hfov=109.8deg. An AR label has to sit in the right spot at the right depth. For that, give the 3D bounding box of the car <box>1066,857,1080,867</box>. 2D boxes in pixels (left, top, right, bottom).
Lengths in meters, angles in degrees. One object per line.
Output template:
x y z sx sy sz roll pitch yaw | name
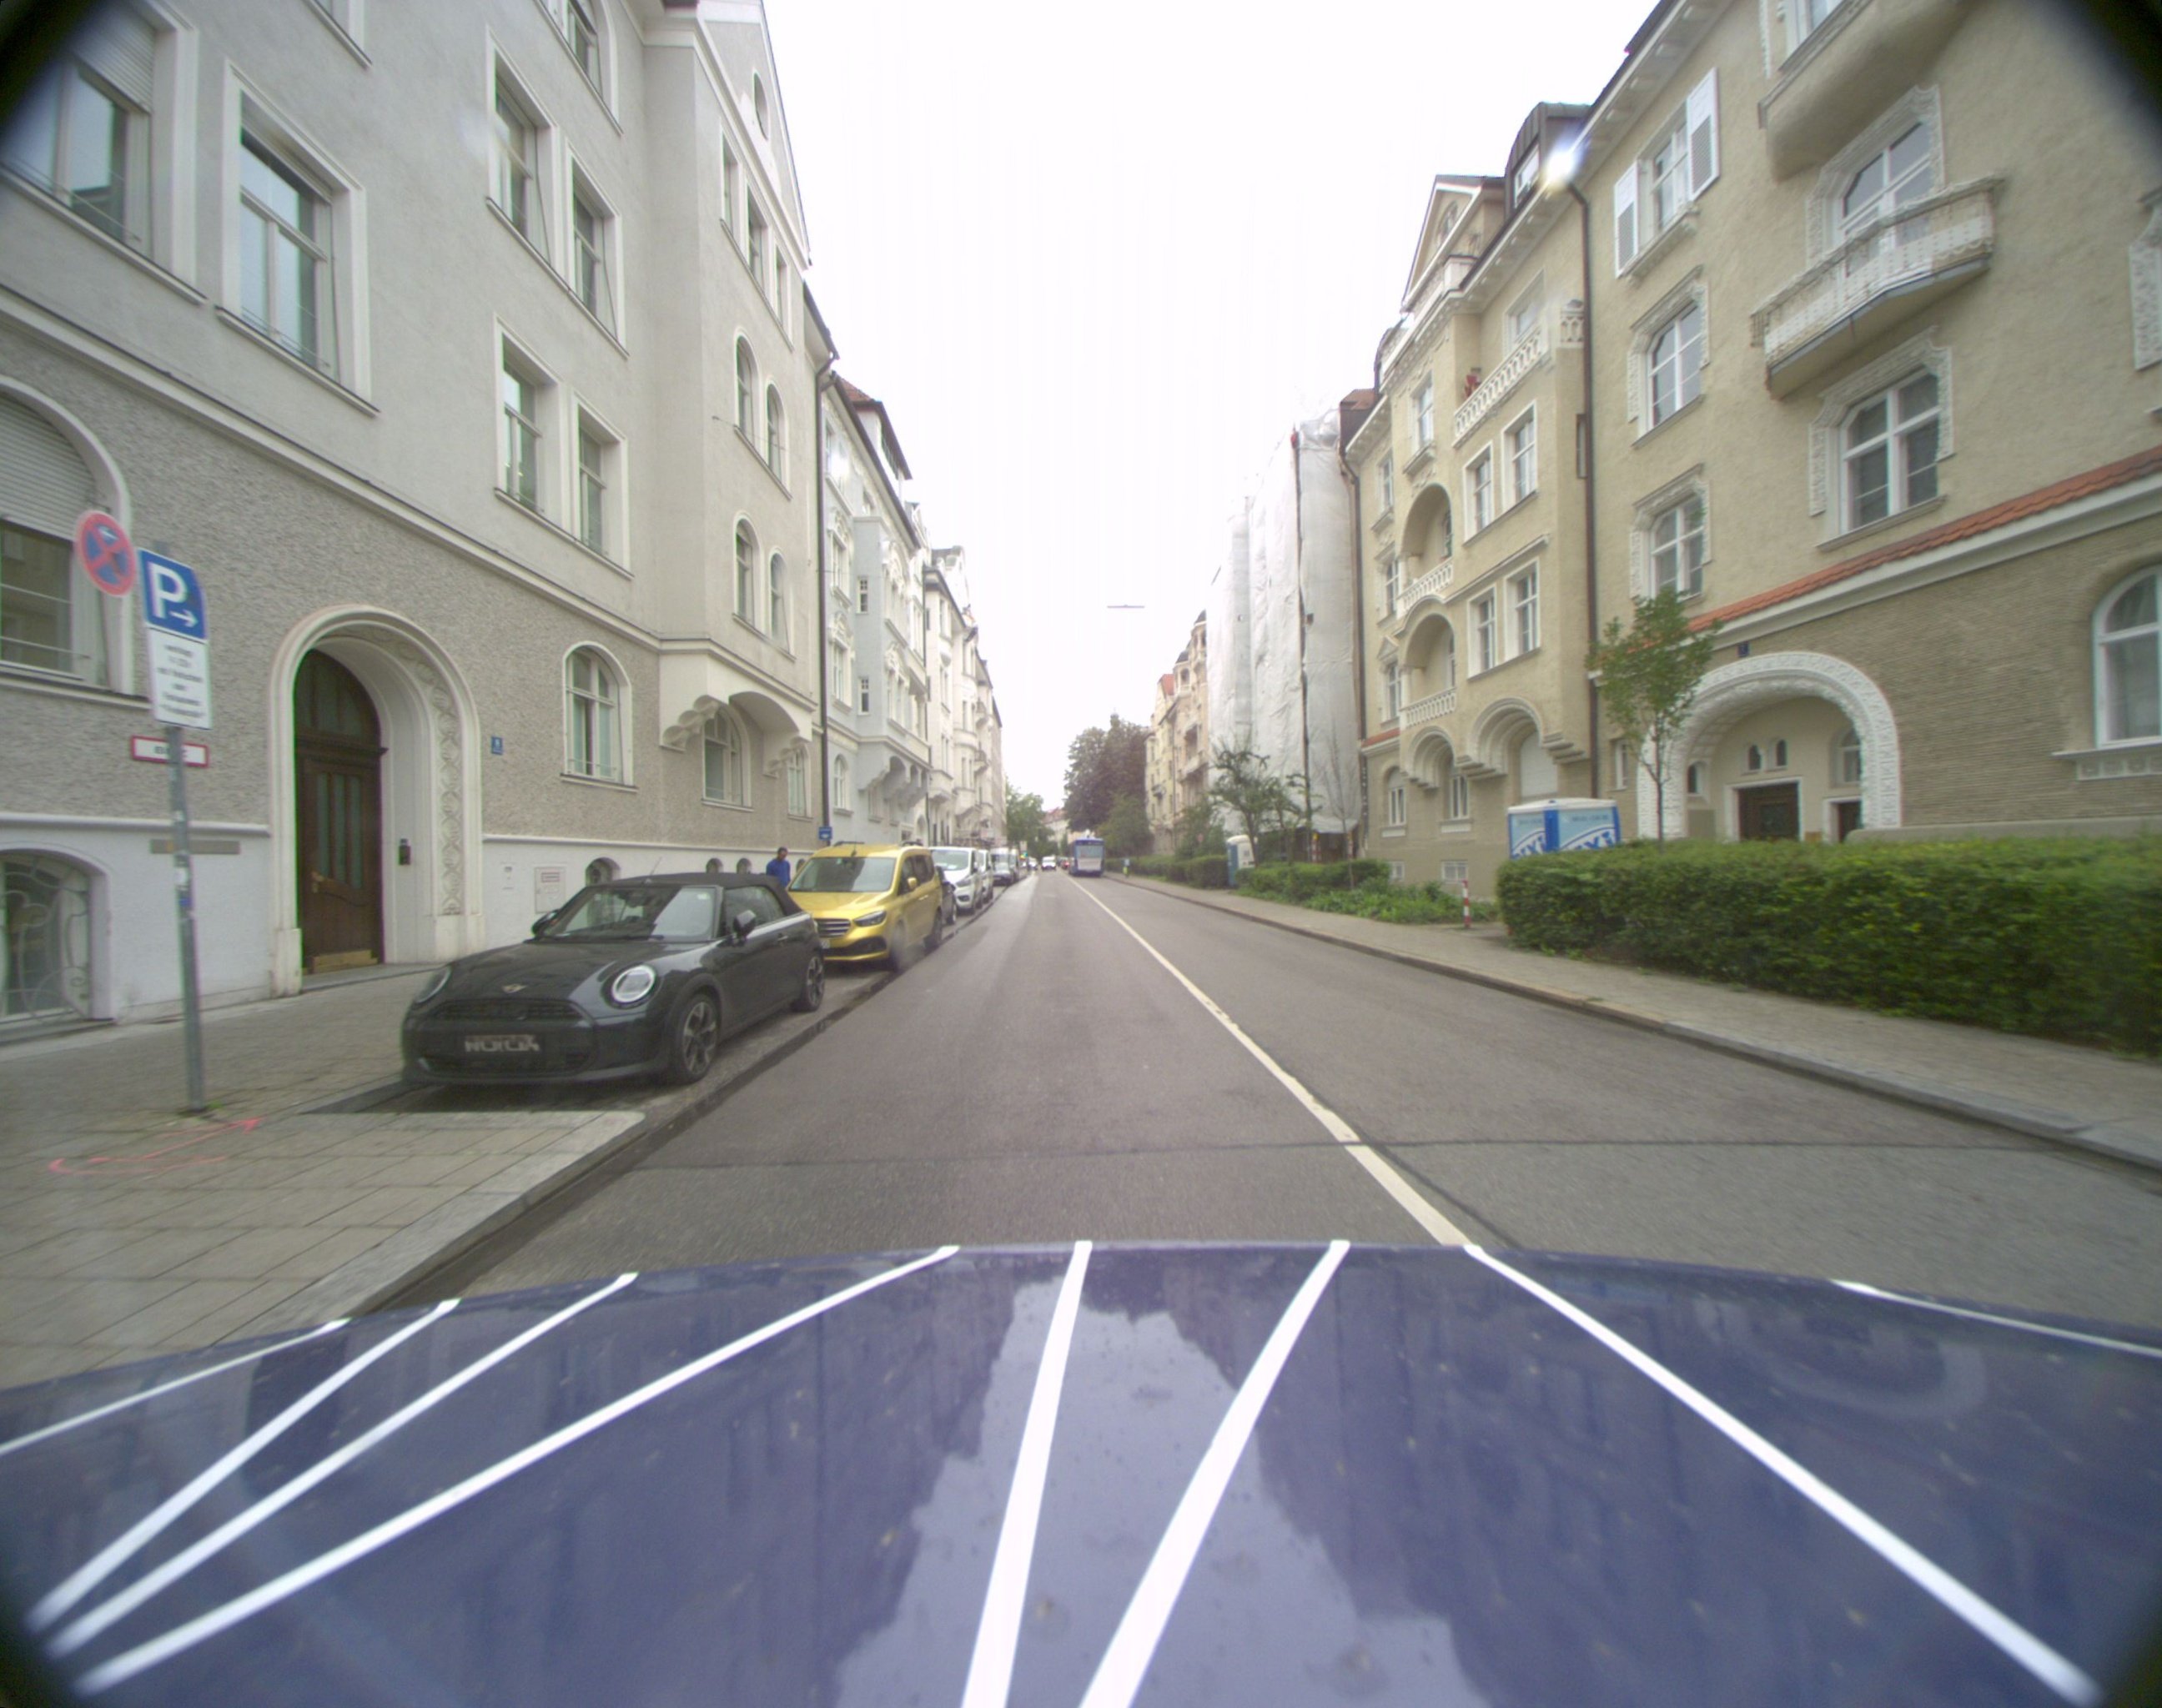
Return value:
-1.061 1.105 104.606 1.724 1.398 4.000 -1 0 2 | car

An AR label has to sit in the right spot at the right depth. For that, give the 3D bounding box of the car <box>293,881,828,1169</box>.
-3.510 1.017 6.124 1.717 1.436 3.827 -1 0 -1 | car

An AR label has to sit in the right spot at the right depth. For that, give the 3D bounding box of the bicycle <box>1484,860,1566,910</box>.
11.509 0.777 19.774 0.823 1.199 2.077 -2 0 -2 | bicycle

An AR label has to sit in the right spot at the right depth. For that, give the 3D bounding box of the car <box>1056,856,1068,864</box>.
-3.247 1.073 131.034 1.724 1.398 4.000 -1 0 2 | car

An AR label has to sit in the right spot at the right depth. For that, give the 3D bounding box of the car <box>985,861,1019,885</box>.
-4.923 1.159 47.668 1.793 1.399 4.243 -1 0 -2 | car

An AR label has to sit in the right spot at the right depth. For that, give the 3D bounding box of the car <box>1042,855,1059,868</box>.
-3.953 0.984 99.646 1.919 1.648 4.602 -1 0 1 | car

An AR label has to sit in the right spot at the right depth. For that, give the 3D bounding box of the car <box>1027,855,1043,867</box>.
-6.451 0.983 106.908 1.724 1.622 4.000 -1 0 2 | car

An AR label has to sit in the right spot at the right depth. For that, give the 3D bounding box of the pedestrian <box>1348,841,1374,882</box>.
12.262 0.328 33.247 0.771 1.736 0.773 -2 0 -4 | pedestrian

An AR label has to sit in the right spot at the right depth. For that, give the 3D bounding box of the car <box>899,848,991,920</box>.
-3.931 0.802 22.792 1.999 1.907 4.885 -1 0 -2 | car

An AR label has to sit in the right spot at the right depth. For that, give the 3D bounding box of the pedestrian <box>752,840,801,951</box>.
-5.654 0.749 14.129 0.584 2.002 0.727 -1 0 1 | pedestrian

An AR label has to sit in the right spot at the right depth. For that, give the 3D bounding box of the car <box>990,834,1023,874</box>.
-5.239 0.026 54.131 2.082 2.672 5.443 1 0 -3 | car

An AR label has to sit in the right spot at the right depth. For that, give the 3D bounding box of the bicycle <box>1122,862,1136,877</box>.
3.593 1.179 57.404 0.770 1.075 2.049 -3 0 -4 | bicycle

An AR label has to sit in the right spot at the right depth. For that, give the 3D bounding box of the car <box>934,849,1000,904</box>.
-4.282 0.799 29.226 1.999 1.907 4.877 -1 0 -3 | car

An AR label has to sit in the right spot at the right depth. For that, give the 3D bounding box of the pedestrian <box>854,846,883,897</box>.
-7.992 0.666 28.592 0.854 1.892 0.746 -1 0 1 | pedestrian

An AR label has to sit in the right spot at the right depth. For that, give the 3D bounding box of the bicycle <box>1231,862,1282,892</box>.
7.270 0.960 31.490 1.864 1.071 0.690 -5 0 -1 | bicycle

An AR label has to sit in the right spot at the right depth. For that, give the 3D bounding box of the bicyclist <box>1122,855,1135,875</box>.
3.570 0.798 57.377 0.770 1.484 1.060 -3 0 -4 | bicyclist

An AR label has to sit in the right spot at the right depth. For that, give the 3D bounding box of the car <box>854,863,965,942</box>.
-3.718 0.996 17.100 1.638 1.505 3.885 -1 0 -1 | car

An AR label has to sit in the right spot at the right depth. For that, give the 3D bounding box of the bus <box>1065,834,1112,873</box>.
0.416 -0.018 72.783 3.180 3.193 18.050 1 0 -4 | bus

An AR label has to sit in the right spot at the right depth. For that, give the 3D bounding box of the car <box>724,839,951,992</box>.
-3.445 0.772 11.826 1.998 1.907 4.571 -1 0 0 | car

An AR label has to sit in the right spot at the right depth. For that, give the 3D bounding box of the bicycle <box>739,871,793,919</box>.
-8.026 1.020 19.431 0.668 1.126 1.722 -1 0 -1 | bicycle
